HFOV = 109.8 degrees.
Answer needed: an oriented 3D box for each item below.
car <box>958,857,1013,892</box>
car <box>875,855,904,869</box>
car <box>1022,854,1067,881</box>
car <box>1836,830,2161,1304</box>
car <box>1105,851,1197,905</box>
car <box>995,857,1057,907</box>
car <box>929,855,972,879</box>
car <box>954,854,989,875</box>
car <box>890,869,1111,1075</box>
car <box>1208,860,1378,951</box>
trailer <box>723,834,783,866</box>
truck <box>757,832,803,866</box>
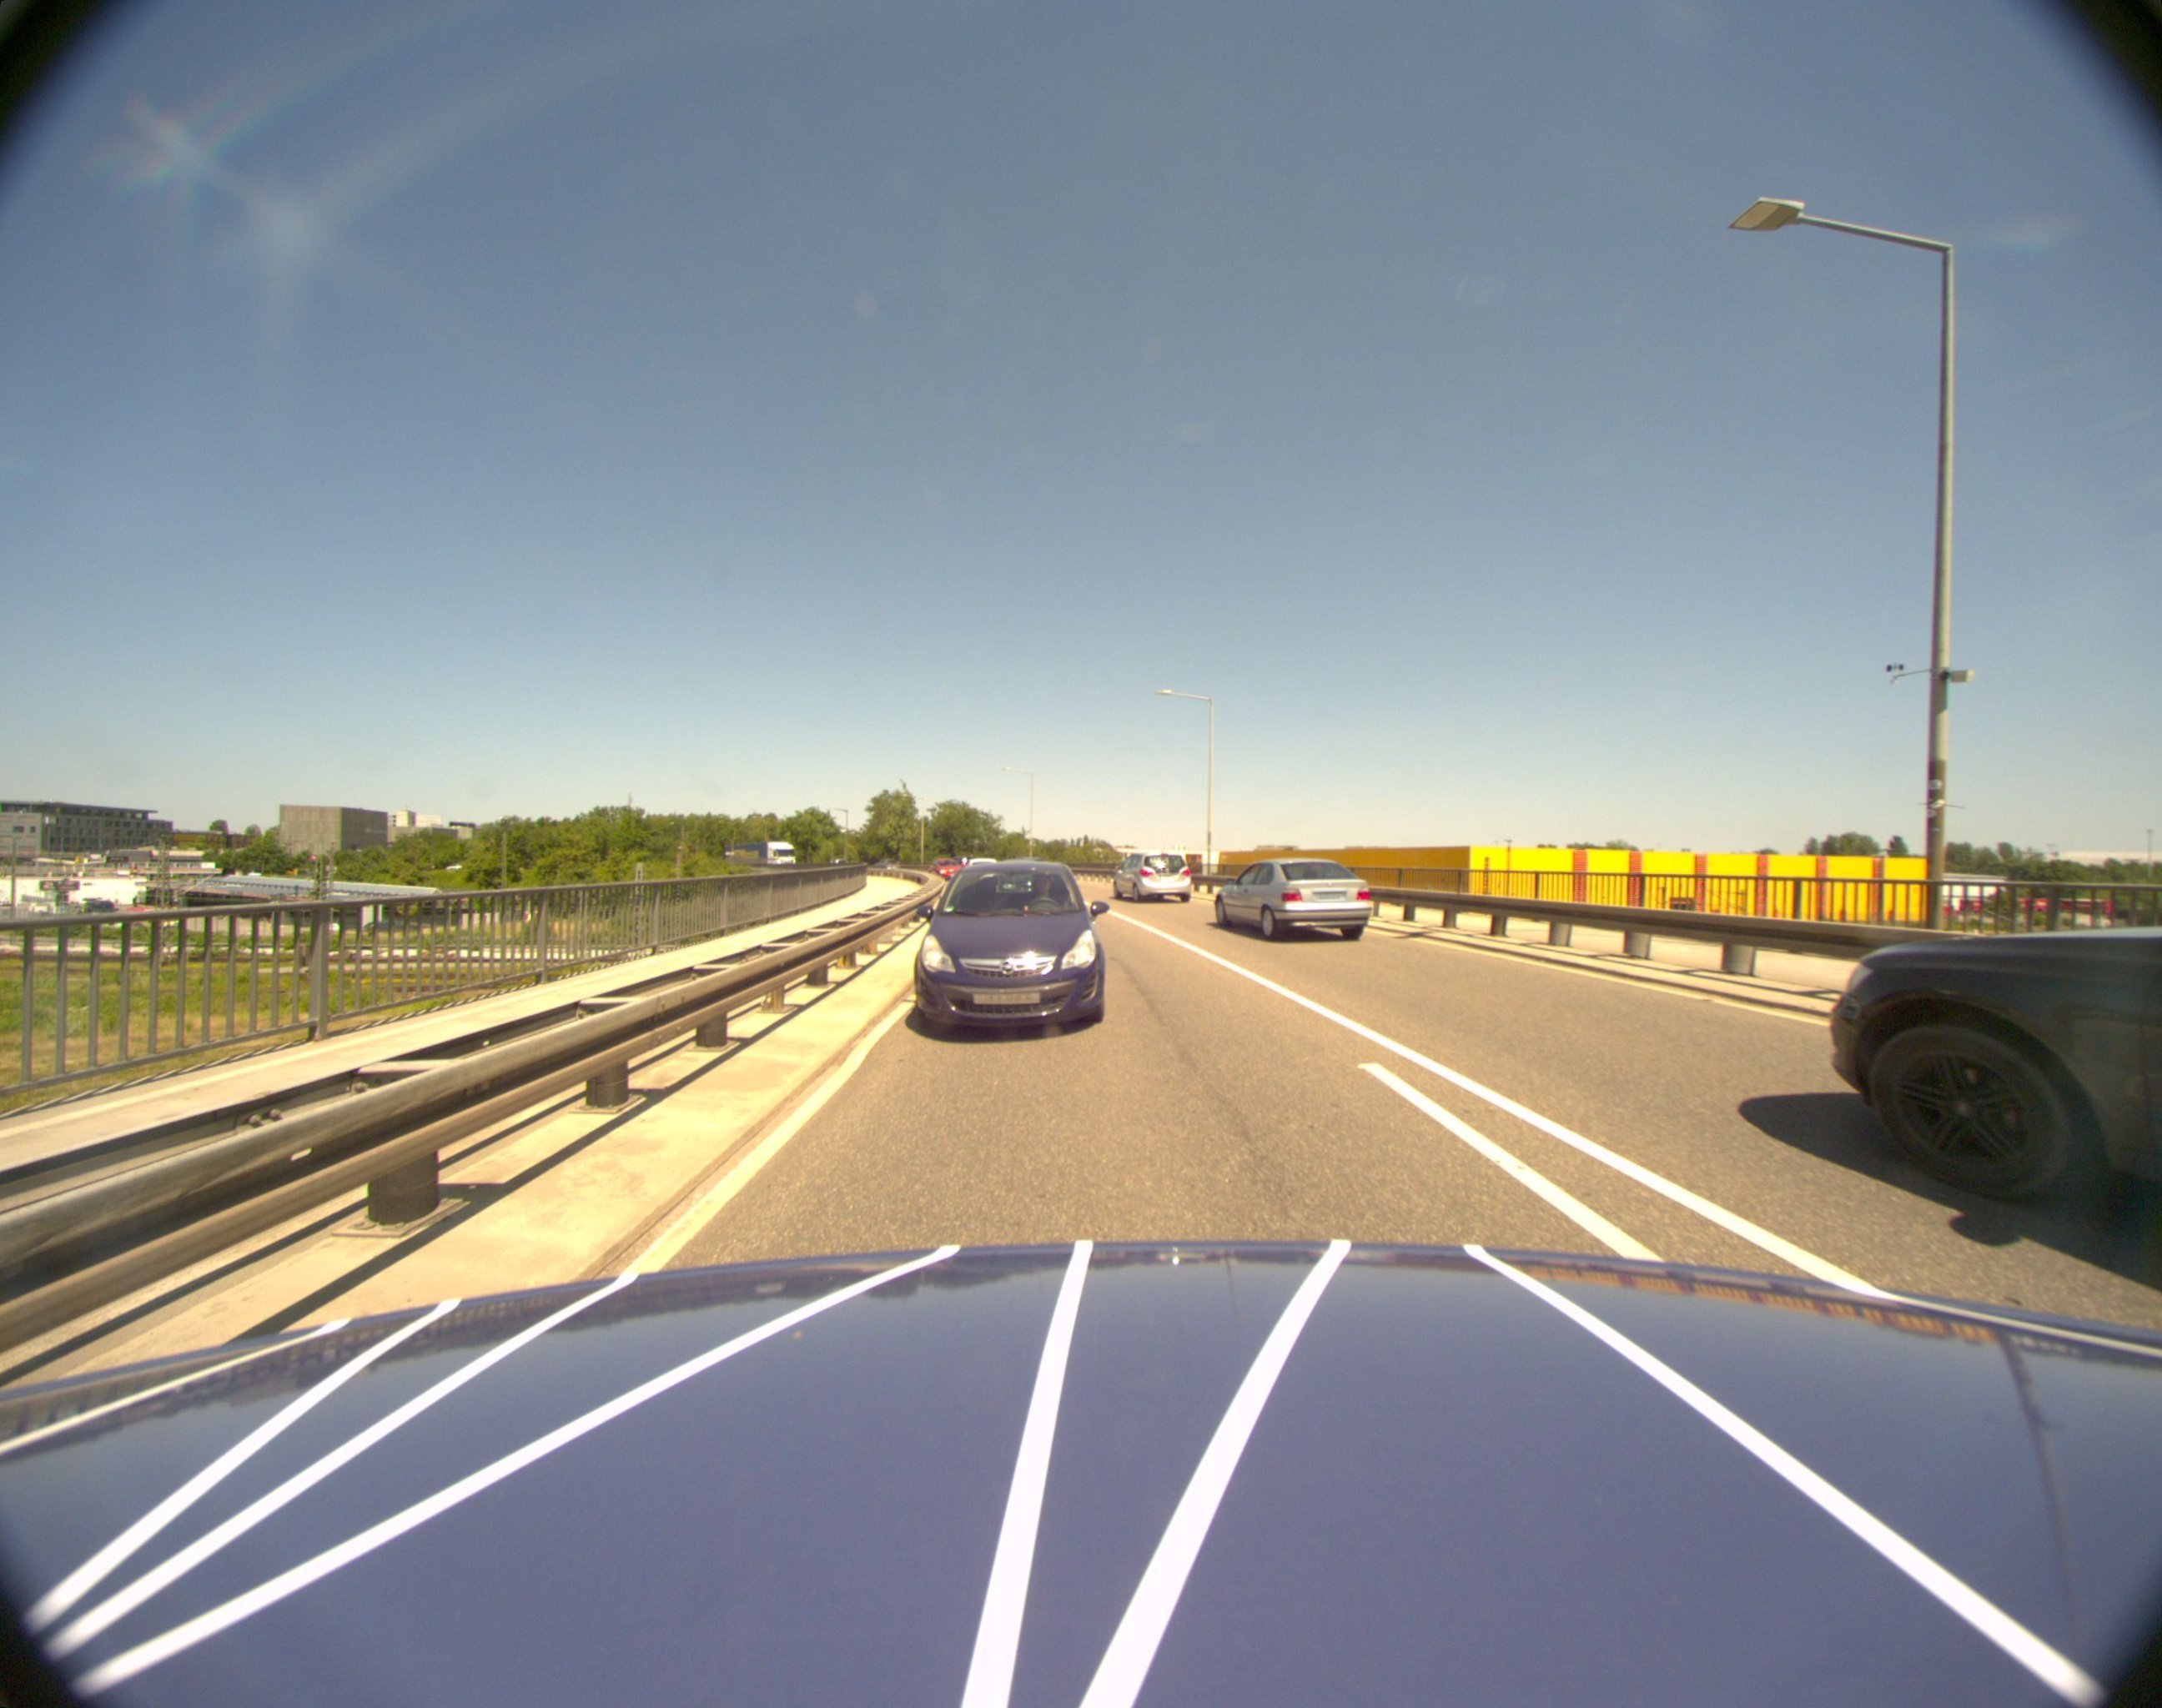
[{"bbox_3d":[-4.586,0.910,35.944,1.797,1.447,4.516,-2,1,-17],"label":"car"},{"bbox_3d":[-20.333,0.813,80.673,1.784,1.499,4.183,-1,0,-33],"label":"car"},{"bbox_3d":[-2.134,0.753,43.302,1.779,1.430,4.386,-1,0,-13],"label":"car"},{"bbox_3d":[4.618,0.718,1.576,1.806,1.631,4.300,-1,0,-1],"label":"car"},{"bbox_3d":[2.177,0.707,24.919,1.743,1.571,4.171,-1,0,-13],"label":"car"},{"bbox_3d":[-1.925,0.854,25.398,1.795,1.446,4.520,-1,0,-7],"label":"car"},{"bbox_3d":[-8.692,0.807,50.363,1.797,1.447,4.514,-1,1,-22],"label":"car"},{"bbox_3d":[-8.825,0.791,60.921,1.780,1.616,4.245,-1,0,-23],"label":"car"},{"bbox_3d":[-0.705,0.941,7.820,1.645,1.431,3.999,-2,0,-3],"label":"car"},{"bbox_3d":[3.737,0.838,14.128,1.702,1.368,3.997,-1,0,-6],"label":"car"},{"bbox_3d":[-45.681,-0.517,105.461,12.676,4.210,2.707,-1,2,44],"label":"trailer"},{"bbox_3d":[-39.500,-0.611,99.583,6.820,4.204,2.702,-1,2,43],"label":"truck"}]
